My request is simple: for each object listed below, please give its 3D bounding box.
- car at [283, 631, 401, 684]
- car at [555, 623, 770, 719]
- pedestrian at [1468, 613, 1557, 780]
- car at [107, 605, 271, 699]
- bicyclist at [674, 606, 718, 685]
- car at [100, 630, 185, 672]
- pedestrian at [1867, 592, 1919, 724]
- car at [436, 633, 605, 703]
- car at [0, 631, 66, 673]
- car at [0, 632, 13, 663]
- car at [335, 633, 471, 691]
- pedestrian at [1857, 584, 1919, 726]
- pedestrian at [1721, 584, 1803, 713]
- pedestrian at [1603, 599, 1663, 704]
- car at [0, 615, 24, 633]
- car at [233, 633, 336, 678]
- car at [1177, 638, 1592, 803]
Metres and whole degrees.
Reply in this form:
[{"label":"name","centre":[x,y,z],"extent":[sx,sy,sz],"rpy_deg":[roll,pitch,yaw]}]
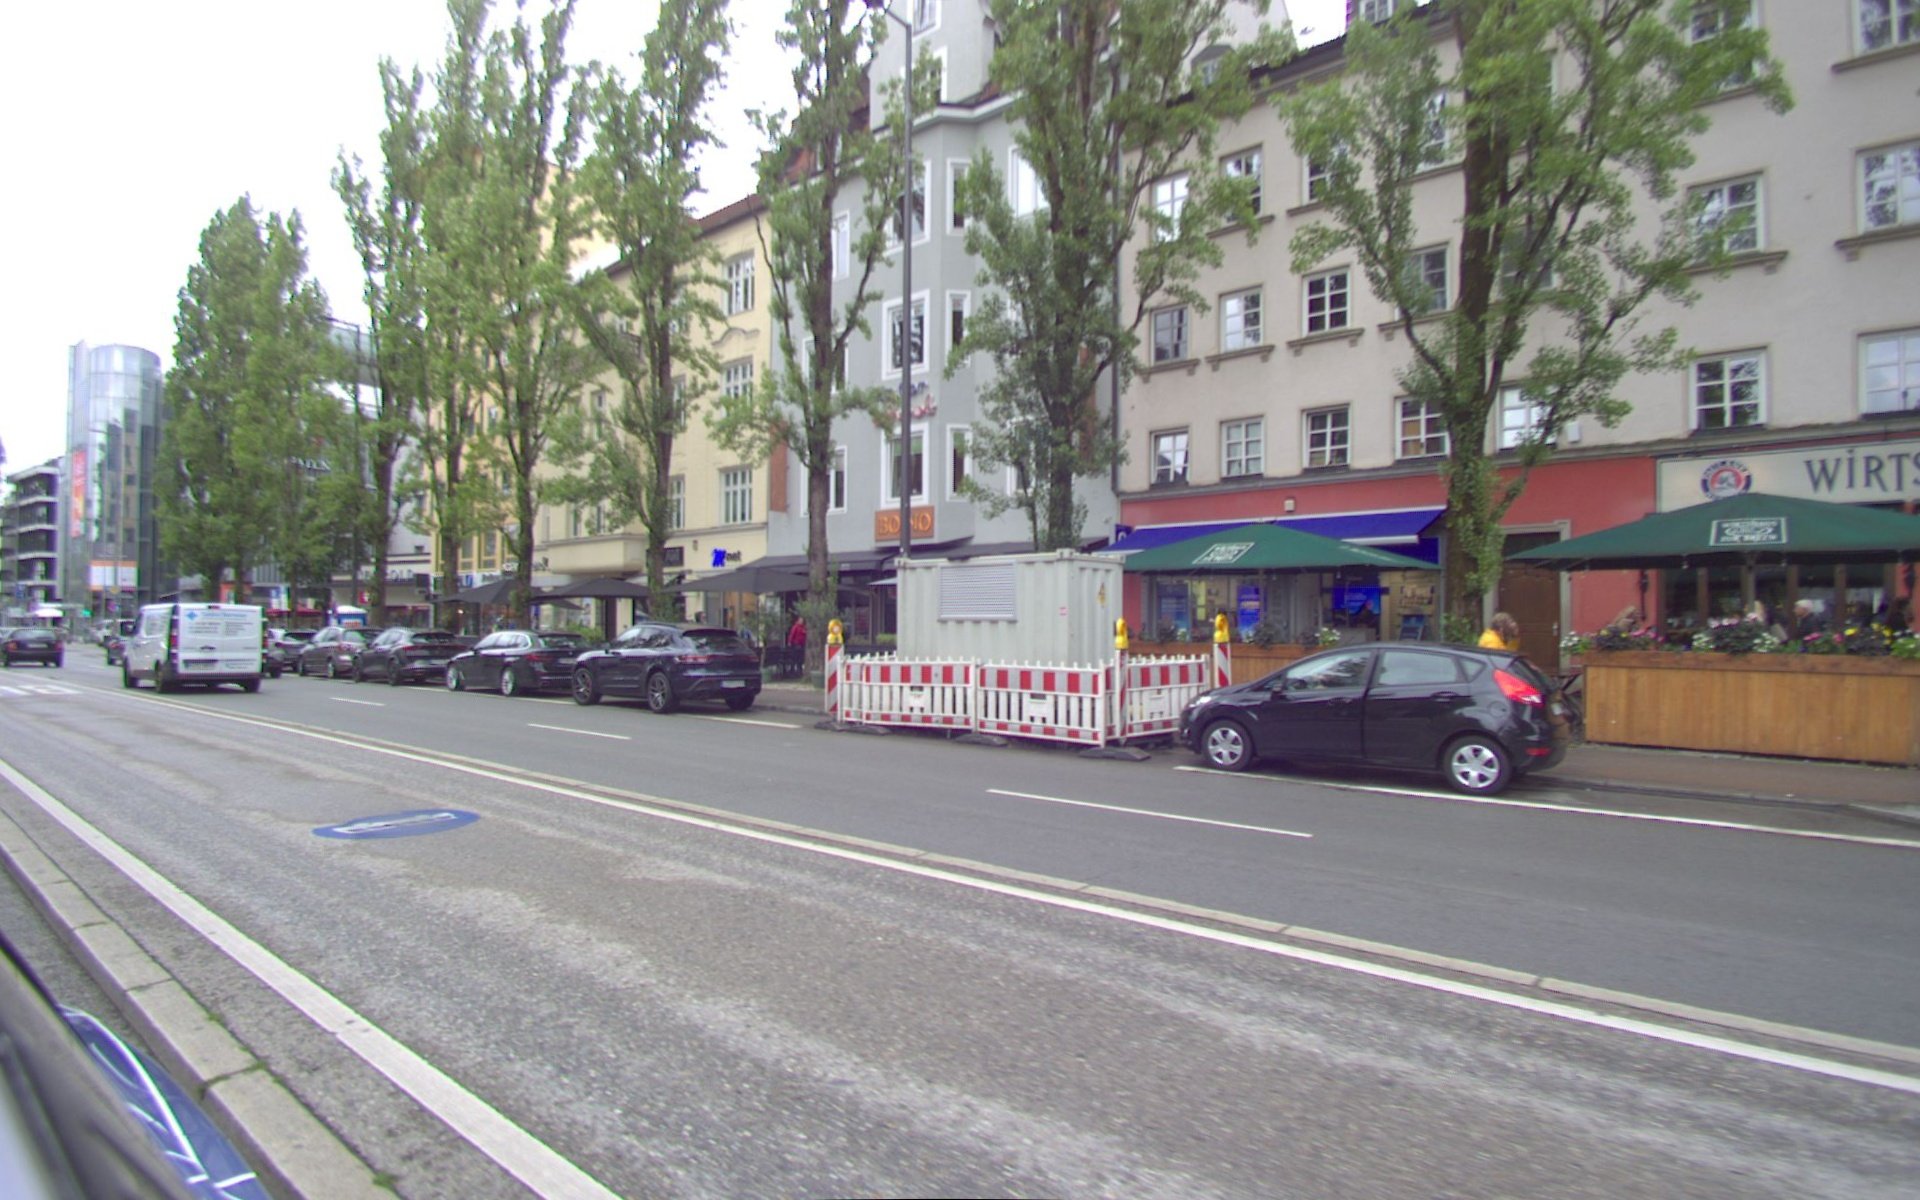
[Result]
[{"label":"car","centre":[-19.101,1.721,31.204],"extent":[4.572,1.515,1.778],"rpy_deg":[-2,-3,41]},{"label":"car","centre":[-5.775,1.284,19.352],"extent":[4.572,1.625,1.778],"rpy_deg":[-2,-3,41]},{"label":"pedestrian","centre":[6.051,1.021,11.082],"extent":[0.731,1.739,0.691],"rpy_deg":[-1,-3,38]},{"label":"car","centre":[-17.917,1.167,23.424],"extent":[5.067,1.947,1.873],"rpy_deg":[-1,-3,40]},{"label":"bicyclist","centre":[-5.882,1.011,22.551],"extent":[0.816,1.718,0.598],"rpy_deg":[-1,-2,42]},{"label":"car","centre":[-31.652,1.947,39.150],"extent":[4.360,1.530,1.728],"rpy_deg":[-1,-3,40]},{"label":"pedestrian","centre":[12.817,0.765,13.549],"extent":[0.950,1.735,0.690],"rpy_deg":[-2,-3,44]},{"label":"car","centre":[-10.188,1.492,23.285],"extent":[4.572,1.451,1.778],"rpy_deg":[-2,-3,41]},{"label":"car","centre":[-33.795,1.842,36.629],"extent":[3.593,1.451,1.596],"rpy_deg":[-1,-3,40]},{"label":"car","centre":[-45.429,2.181,46.854],"extent":[4.360,1.410,1.758],"rpy_deg":[-1,-3,40]},{"label":"car","centre":[-15.213,1.637,27.525],"extent":[4.572,1.451,1.778],"rpy_deg":[-2,-3,41]},{"label":"pedestrian","centre":[13.232,0.760,14.199],"extent":[0.905,1.941,0.690],"rpy_deg":[-2,-3,44]},{"label":"pedestrian","centre":[12.551,0.747,15.845],"extent":[0.905,1.941,0.690],"rpy_deg":[-2,-3,44]},{"label":"pedestrian","centre":[10.805,0.821,16.245],"extent":[0.731,1.636,0.691],"rpy_deg":[-2,-3,39]},{"label":"car","centre":[-87.345,2.183,92.662],"extent":[4.360,1.628,1.839],"rpy_deg":[-1,-3,40]},{"label":"car","centre":[-23.324,1.877,34.881],"extent":[4.572,1.451,1.778],"rpy_deg":[-2,-3,41]},{"label":"car","centre":[4.424,1.139,10.794],"extent":[3.779,1.433,1.739],"rpy_deg":[-1,-3,38]}]
